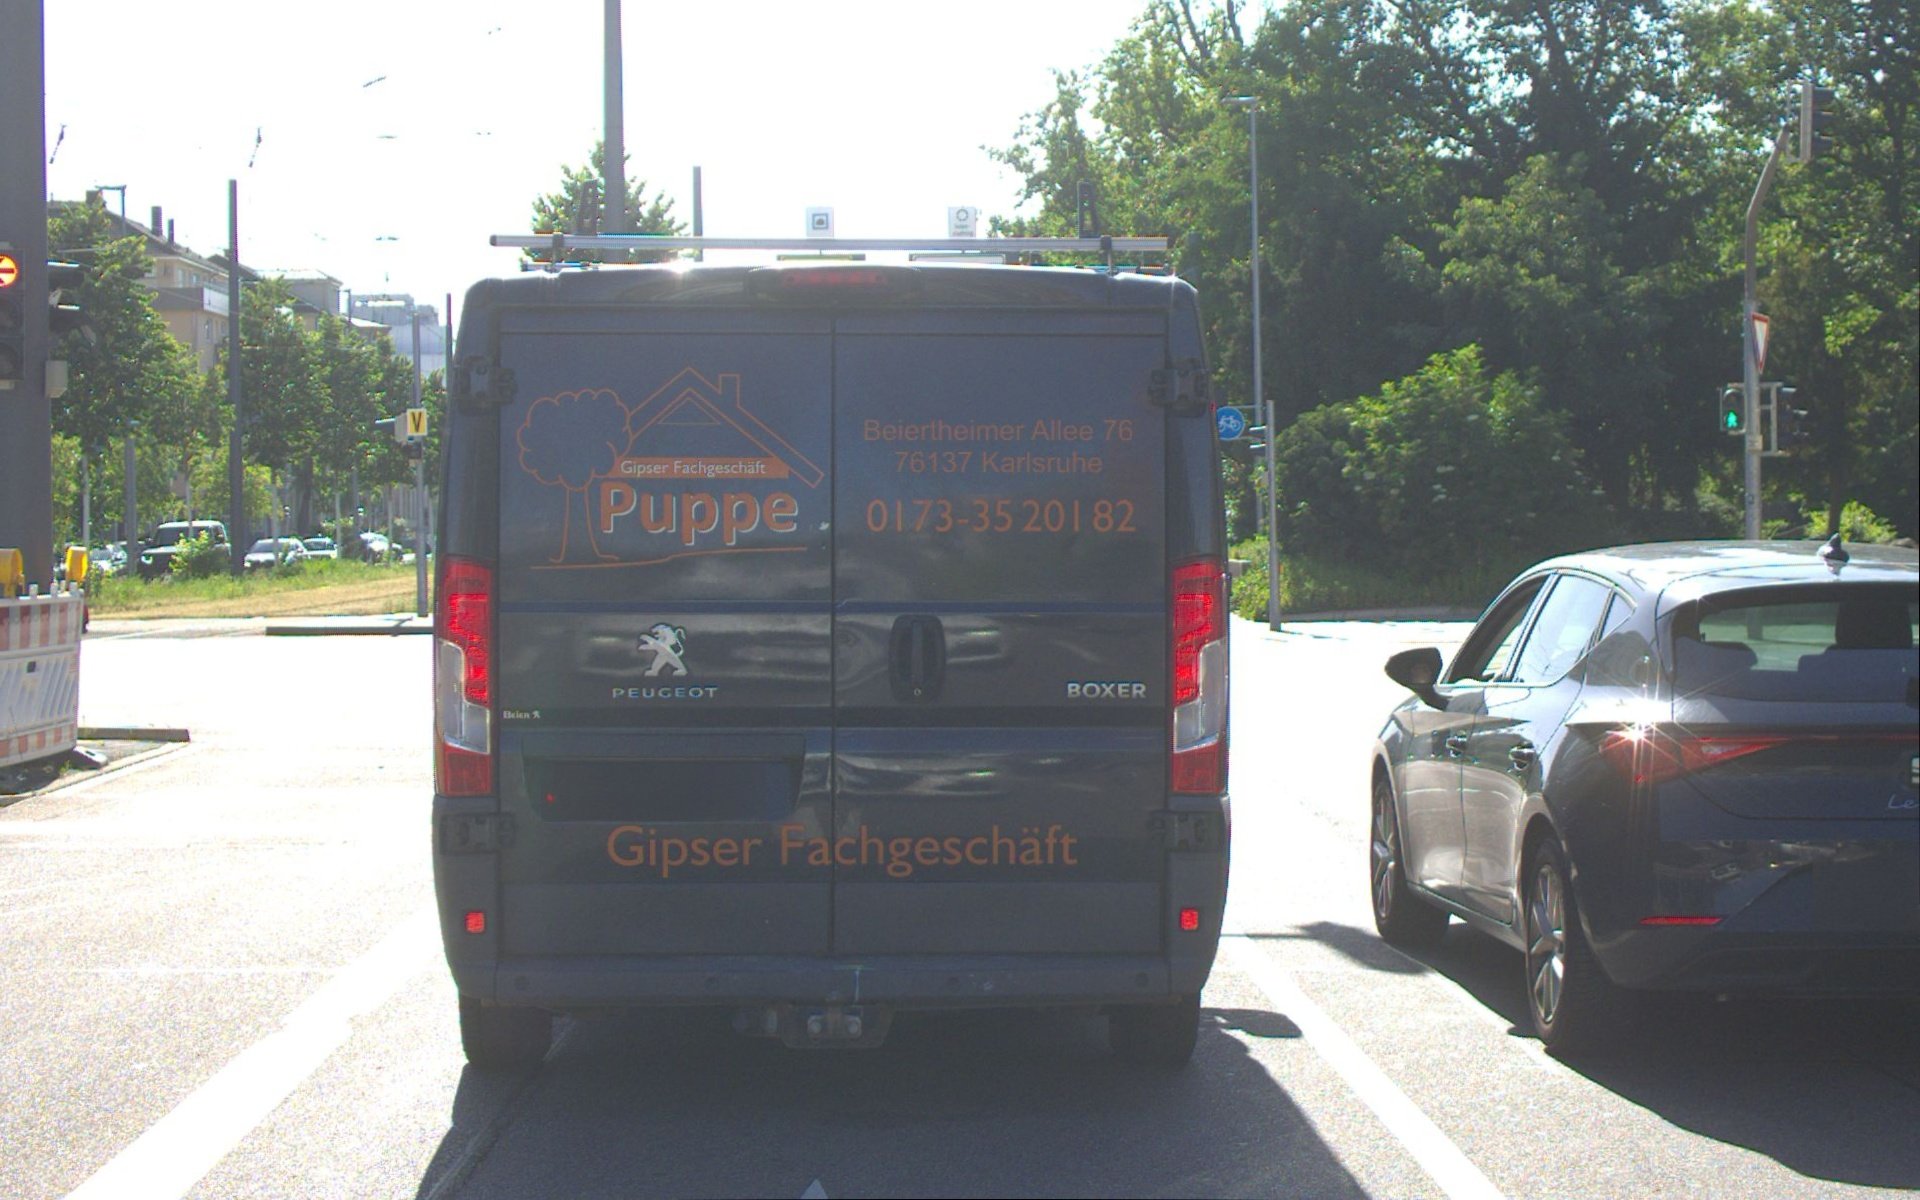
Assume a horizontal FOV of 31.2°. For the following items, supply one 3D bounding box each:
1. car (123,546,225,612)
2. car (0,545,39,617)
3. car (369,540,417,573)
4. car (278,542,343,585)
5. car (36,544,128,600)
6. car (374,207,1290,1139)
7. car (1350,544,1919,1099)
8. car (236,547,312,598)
[{"bbox_3d":[-20.784,-0.584,91.036,1.790,1.645,4.000,-1,1,0],"label":"car"},{"bbox_3d":[-23.166,-0.439,81.102,1.790,1.645,4.000,-1,1,0],"label":"car"},{"bbox_3d":[-28.856,-2.228,175.120,1.790,1.645,4.000,-1,1,0],"label":"car"},{"bbox_3d":[-25.531,-1.450,135.239,1.790,1.645,4.000,-1,1,0],"label":"car"},{"bbox_3d":[-26.869,-0.878,105.334,1.790,1.645,4.000,-1,1,0],"label":"car"},{"bbox_3d":[-0.394,0.116,10.646,2.218,2.259,4.485,1,2,-2],"label":"car"},{"bbox_3d":[2.426,0.547,10.812,1.791,1.423,3.850,1,1,-2],"label":"car"},{"bbox_3d":[-23.454,-0.956,117.693,1.790,1.645,4.000,-1,1,0],"label":"car"}]
